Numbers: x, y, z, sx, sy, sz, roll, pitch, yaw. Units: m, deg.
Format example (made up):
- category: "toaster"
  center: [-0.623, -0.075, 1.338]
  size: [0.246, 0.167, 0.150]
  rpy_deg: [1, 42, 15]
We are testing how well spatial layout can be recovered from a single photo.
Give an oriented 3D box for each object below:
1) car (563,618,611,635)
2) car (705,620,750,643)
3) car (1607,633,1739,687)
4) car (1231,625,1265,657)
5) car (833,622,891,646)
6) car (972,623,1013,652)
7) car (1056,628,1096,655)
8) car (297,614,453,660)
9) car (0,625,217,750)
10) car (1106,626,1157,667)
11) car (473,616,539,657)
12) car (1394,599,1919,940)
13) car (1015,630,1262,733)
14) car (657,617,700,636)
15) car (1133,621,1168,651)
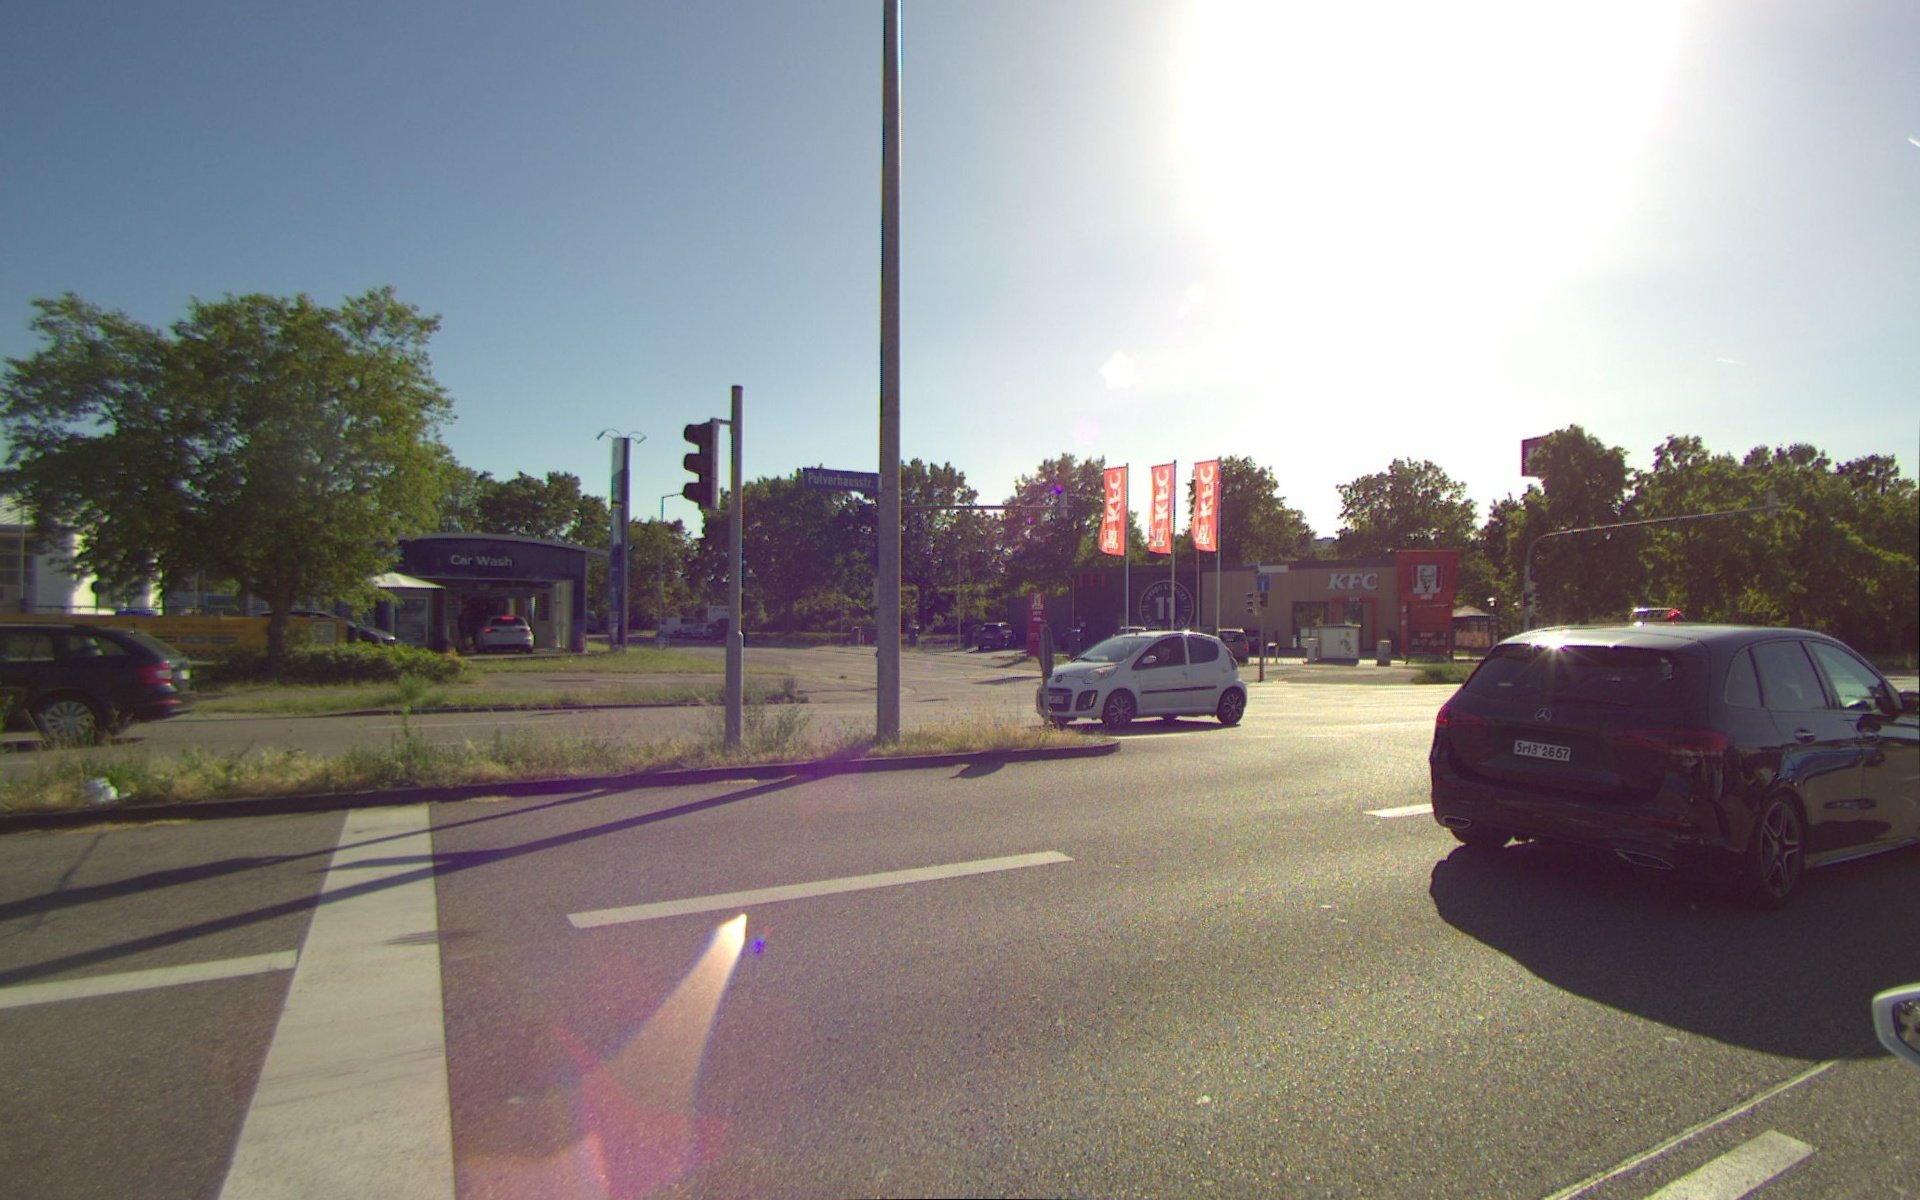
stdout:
- category: "car"
  center: [-38.985, 2.781, 105.041]
  size: [4.698, 1.823, 2.099]
  rpy_deg: [-1, -3, 27]
- category: "car"
  center: [-19.256, 2.616, 83.171]
  size: [1.894, 1.867, 4.251]
  rpy_deg: [2, -3, -40]
- category: "car"
  center: [22.942, 1.922, 32.297]
  size: [4.217, 1.620, 1.886]
  rpy_deg: [2, -3, -30]
- category: "car"
  center: [16.962, 2.369, 59.061]
  size: [1.857, 1.684, 4.244]
  rpy_deg: [2, 0, 17]
- category: "car"
  center: [-7.906, 2.724, 81.141]
  size: [4.213, 1.867, 1.911]
  rpy_deg: [0, -2, 14]
- category: "car"
  center: [2.109, 2.380, 63.730]
  size: [1.880, 1.764, 4.304]
  rpy_deg: [0, -2, 12]
- category: "car"
  center: [7.262, 2.549, 62.586]
  size: [1.845, 1.539, 4.002]
  rpy_deg: [2, 0, 15]
- category: "car"
  center: [-18.261, 1.190, 31.474]
  size: [4.074, 1.342, 1.885]
  rpy_deg: [2, -3, -32]
- category: "car"
  center: [-11.915, 1.042, 12.226]
  size: [4.406, 1.451, 1.687]
  rpy_deg: [2, -3, -30]
- category: "car"
  center: [8.541, 2.261, 49.873]
  size: [1.811, 1.875, 3.830]
  rpy_deg: [2, 0, 20]
- category: "car"
  center: [-17.210, 1.396, 37.979]
  size: [1.879, 1.451, 4.088]
  rpy_deg: [2, -3, -30]
- category: "car"
  center: [4.945, 0.869, 6.629]
  size: [4.176, 1.619, 1.699]
  rpy_deg: [2, 0, -31]
- category: "car"
  center: [2.824, 1.229, 15.793]
  size: [3.622, 1.451, 1.687]
  rpy_deg: [2, -3, -30]
- category: "car"
  center: [-26.095, 2.458, 93.027]
  size: [4.241, 1.690, 1.898]
  rpy_deg: [-2, -3, 43]
- category: "car"
  center: [11.721, 2.211, 61.662]
  size: [1.845, 1.771, 4.002]
  rpy_deg: [0, -2, 15]
